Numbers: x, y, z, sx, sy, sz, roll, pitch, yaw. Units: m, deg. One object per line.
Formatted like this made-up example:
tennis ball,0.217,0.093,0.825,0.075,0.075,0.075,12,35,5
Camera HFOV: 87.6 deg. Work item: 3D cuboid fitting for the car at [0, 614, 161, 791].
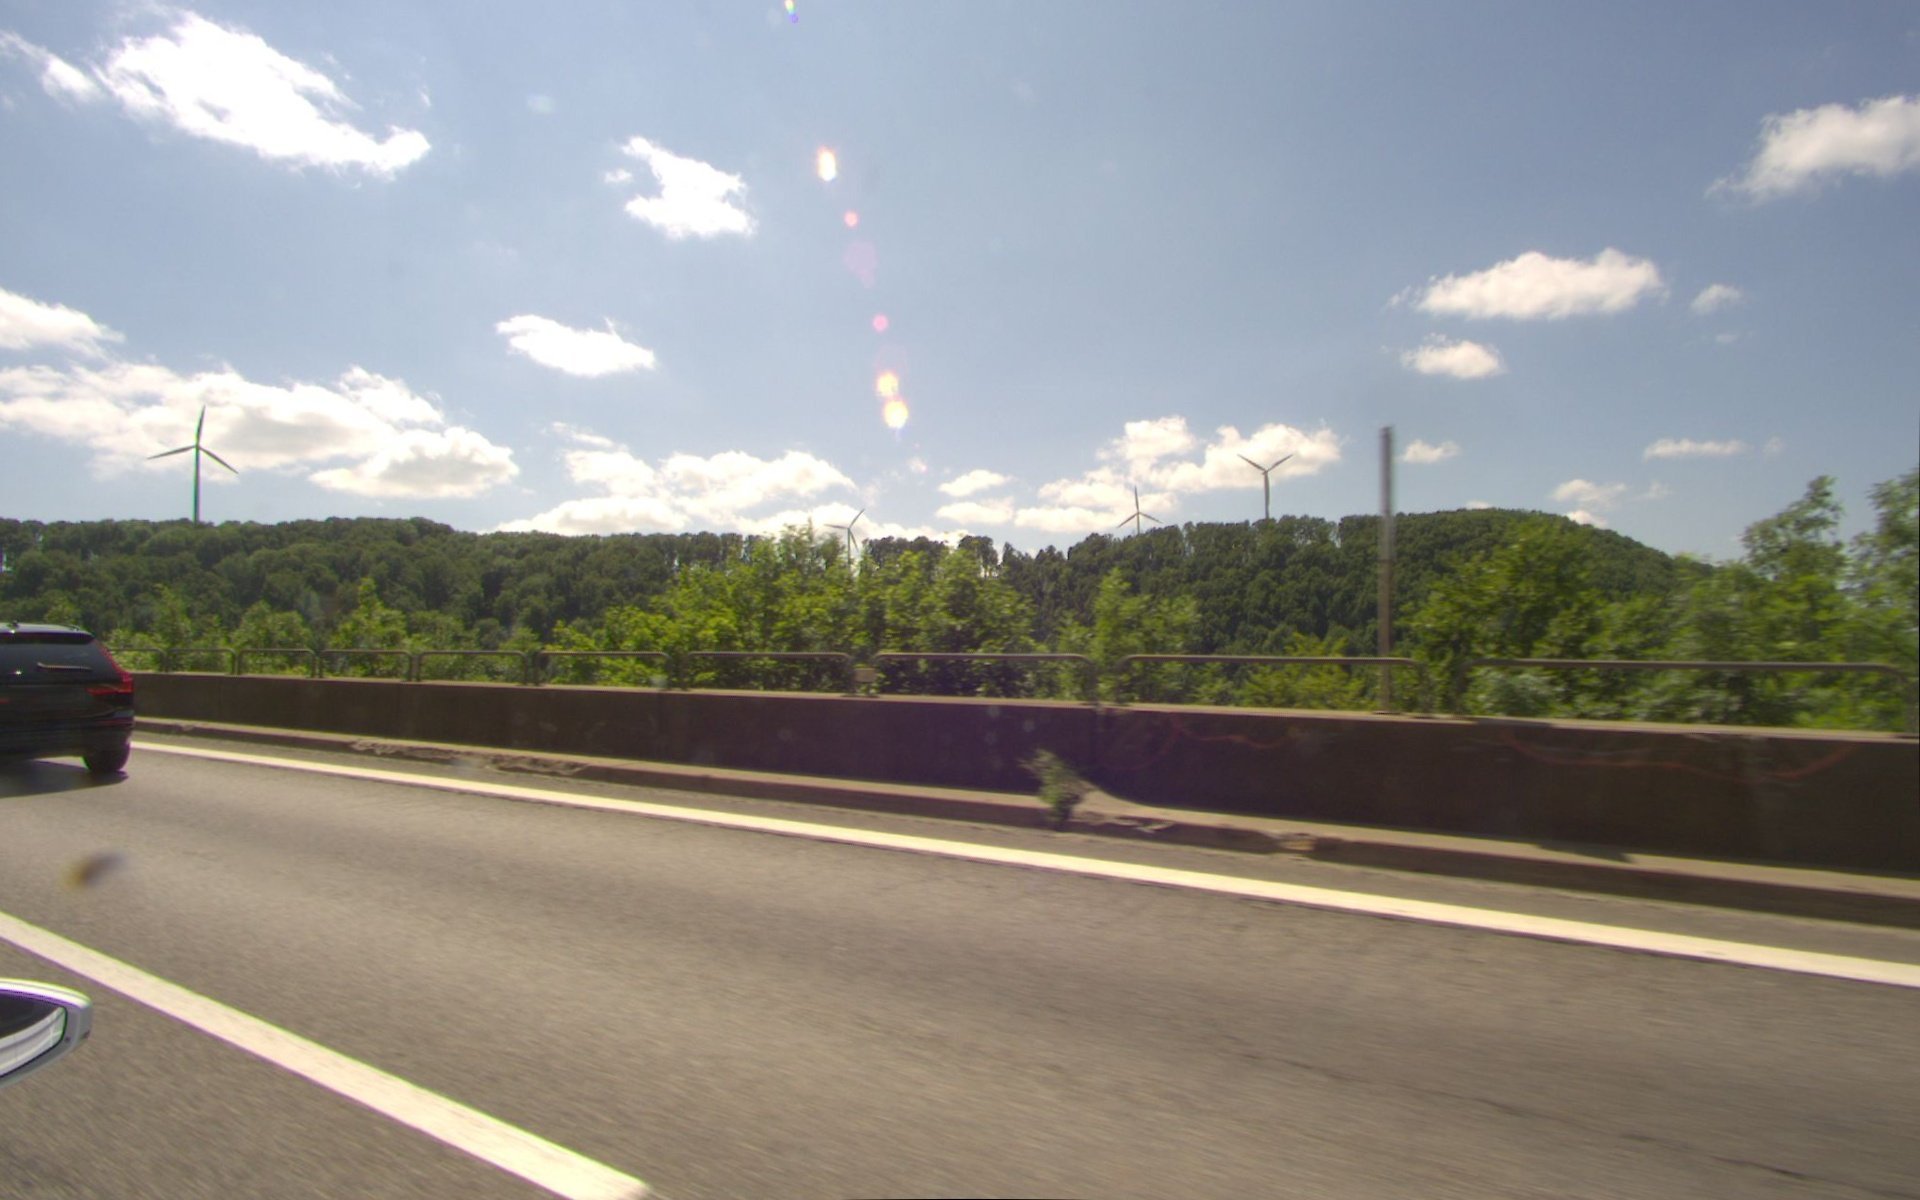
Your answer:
car,-10.784,1.004,10.910,4.595,1.654,1.832,-1,-1,32
